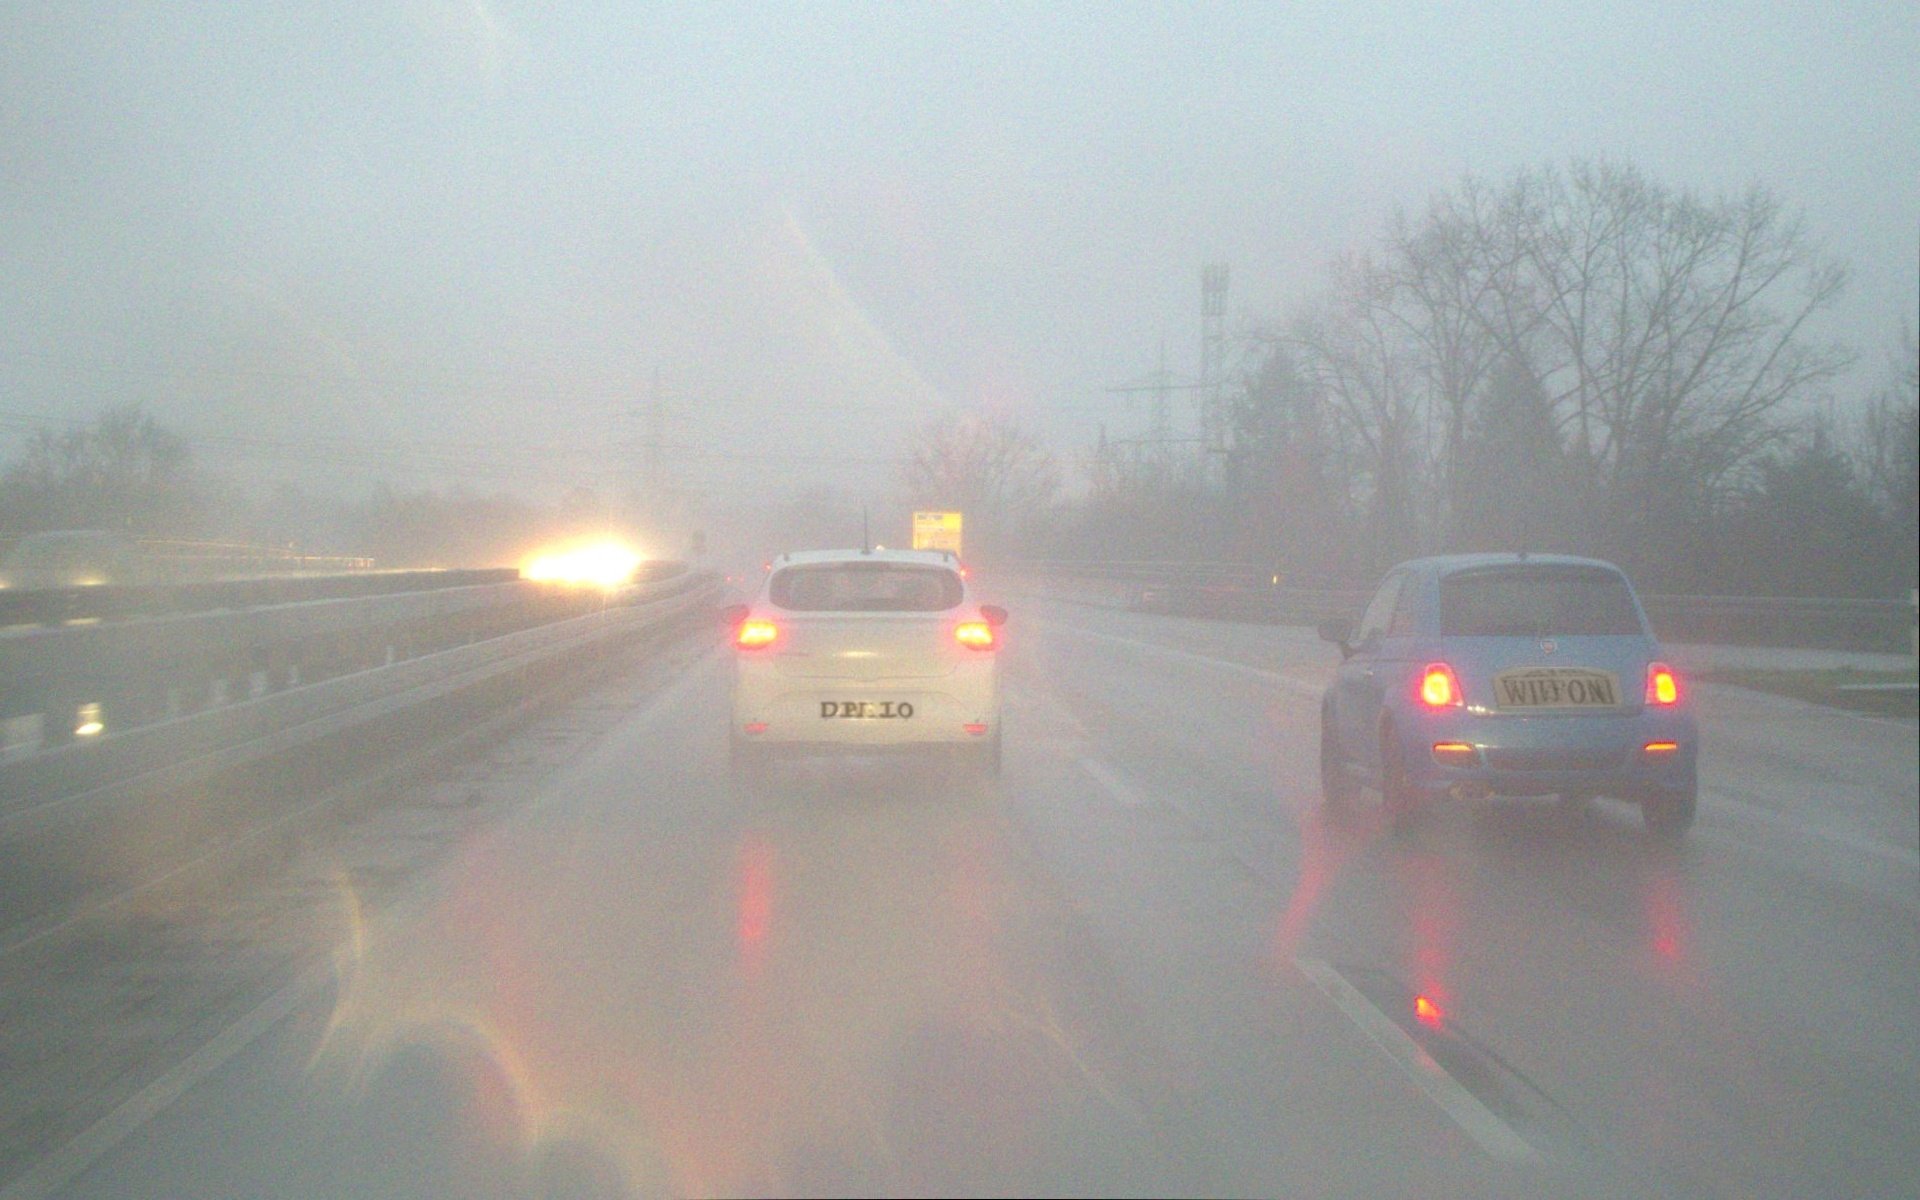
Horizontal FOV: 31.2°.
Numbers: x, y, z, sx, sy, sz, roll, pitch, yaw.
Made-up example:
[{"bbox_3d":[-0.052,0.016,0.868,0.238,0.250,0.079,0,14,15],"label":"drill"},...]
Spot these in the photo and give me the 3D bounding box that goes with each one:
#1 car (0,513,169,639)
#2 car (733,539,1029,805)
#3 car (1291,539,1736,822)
[{"bbox_3d":[-13.310,-0.390,51.475,1.895,1.778,4.704,1,1,-1],"label":"car"},{"bbox_3d":[-0.485,0.419,23.423,1.845,1.630,3.768,0,1,0],"label":"car"},{"bbox_3d":[3.114,0.390,20.173,1.845,1.448,4.149,0,1,-1],"label":"car"}]
